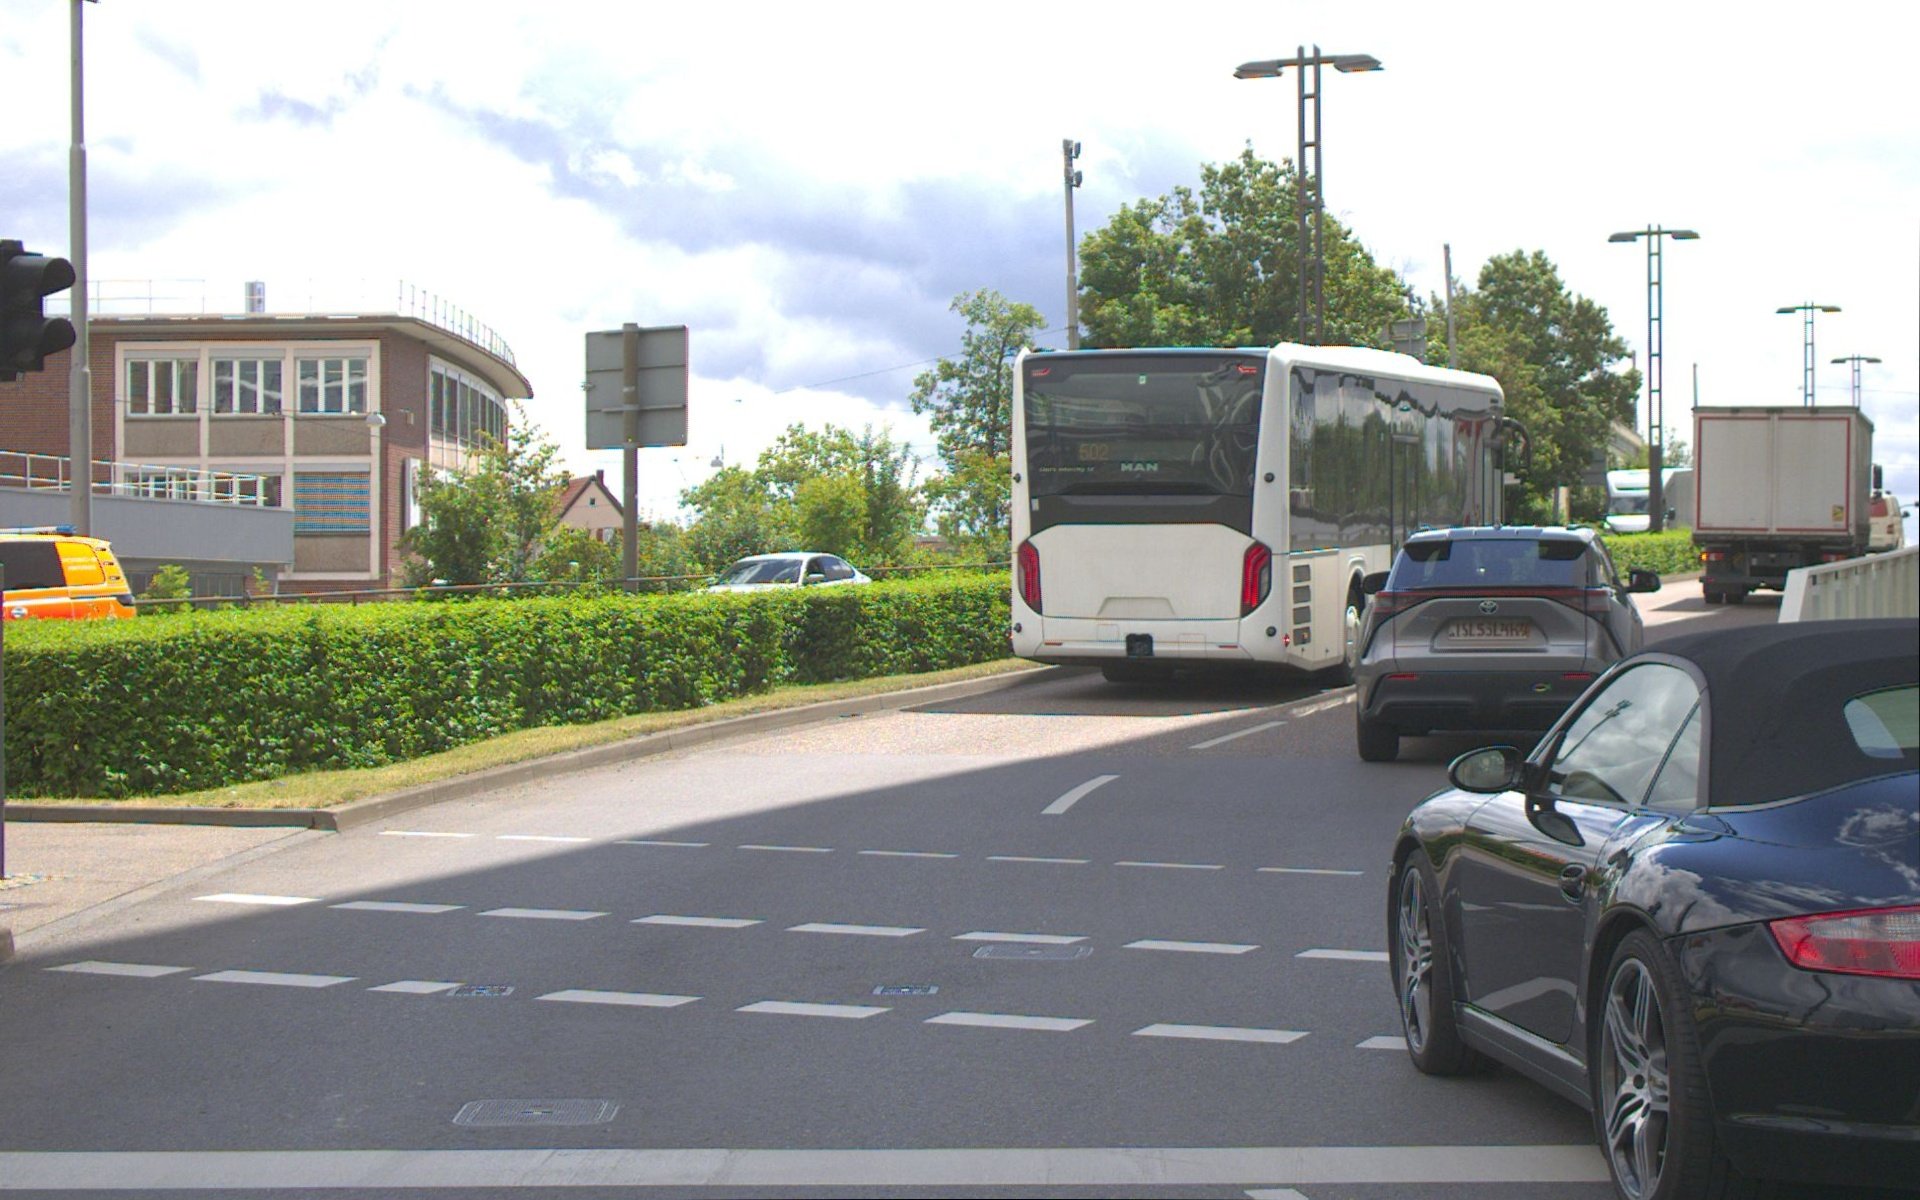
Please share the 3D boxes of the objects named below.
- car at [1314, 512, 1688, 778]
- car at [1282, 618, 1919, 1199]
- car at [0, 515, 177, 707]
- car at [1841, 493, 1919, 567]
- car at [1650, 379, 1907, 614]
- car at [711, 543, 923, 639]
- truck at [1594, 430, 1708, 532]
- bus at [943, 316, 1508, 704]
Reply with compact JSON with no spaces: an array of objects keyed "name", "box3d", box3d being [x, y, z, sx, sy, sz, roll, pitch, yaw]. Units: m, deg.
[{"name":"car","box3d":[3.882,0.231,24.137,1.995,1.631,3.997,1,2,17]},{"name":"car","box3d":[2.098,0.726,8.277,1.834,1.321,4.001,0,0,-7]},{"name":"car","box3d":[-10.558,0.119,36.081,1.996,1.976,4.830,-1,0,25]},{"name":"car","box3d":[26.373,-1.981,98.204,1.995,1.897,3.996,1,-1,19]},{"name":"car","box3d":[14.164,-1.640,58.896,3.338,3.492,9.332,1,-1,19]},{"name":"car","box3d":[-2.261,-0.180,55.623,1.757,1.393,4.669,1,2,20]},{"name":"truck","box3d":[23.873,-4.047,118.507,2.198,2.951,8.941,1,-1,22]},{"name":"bus","box3d":[3.213,-1.042,35.982,3.074,3.350,12.213,1,3,18]}]
